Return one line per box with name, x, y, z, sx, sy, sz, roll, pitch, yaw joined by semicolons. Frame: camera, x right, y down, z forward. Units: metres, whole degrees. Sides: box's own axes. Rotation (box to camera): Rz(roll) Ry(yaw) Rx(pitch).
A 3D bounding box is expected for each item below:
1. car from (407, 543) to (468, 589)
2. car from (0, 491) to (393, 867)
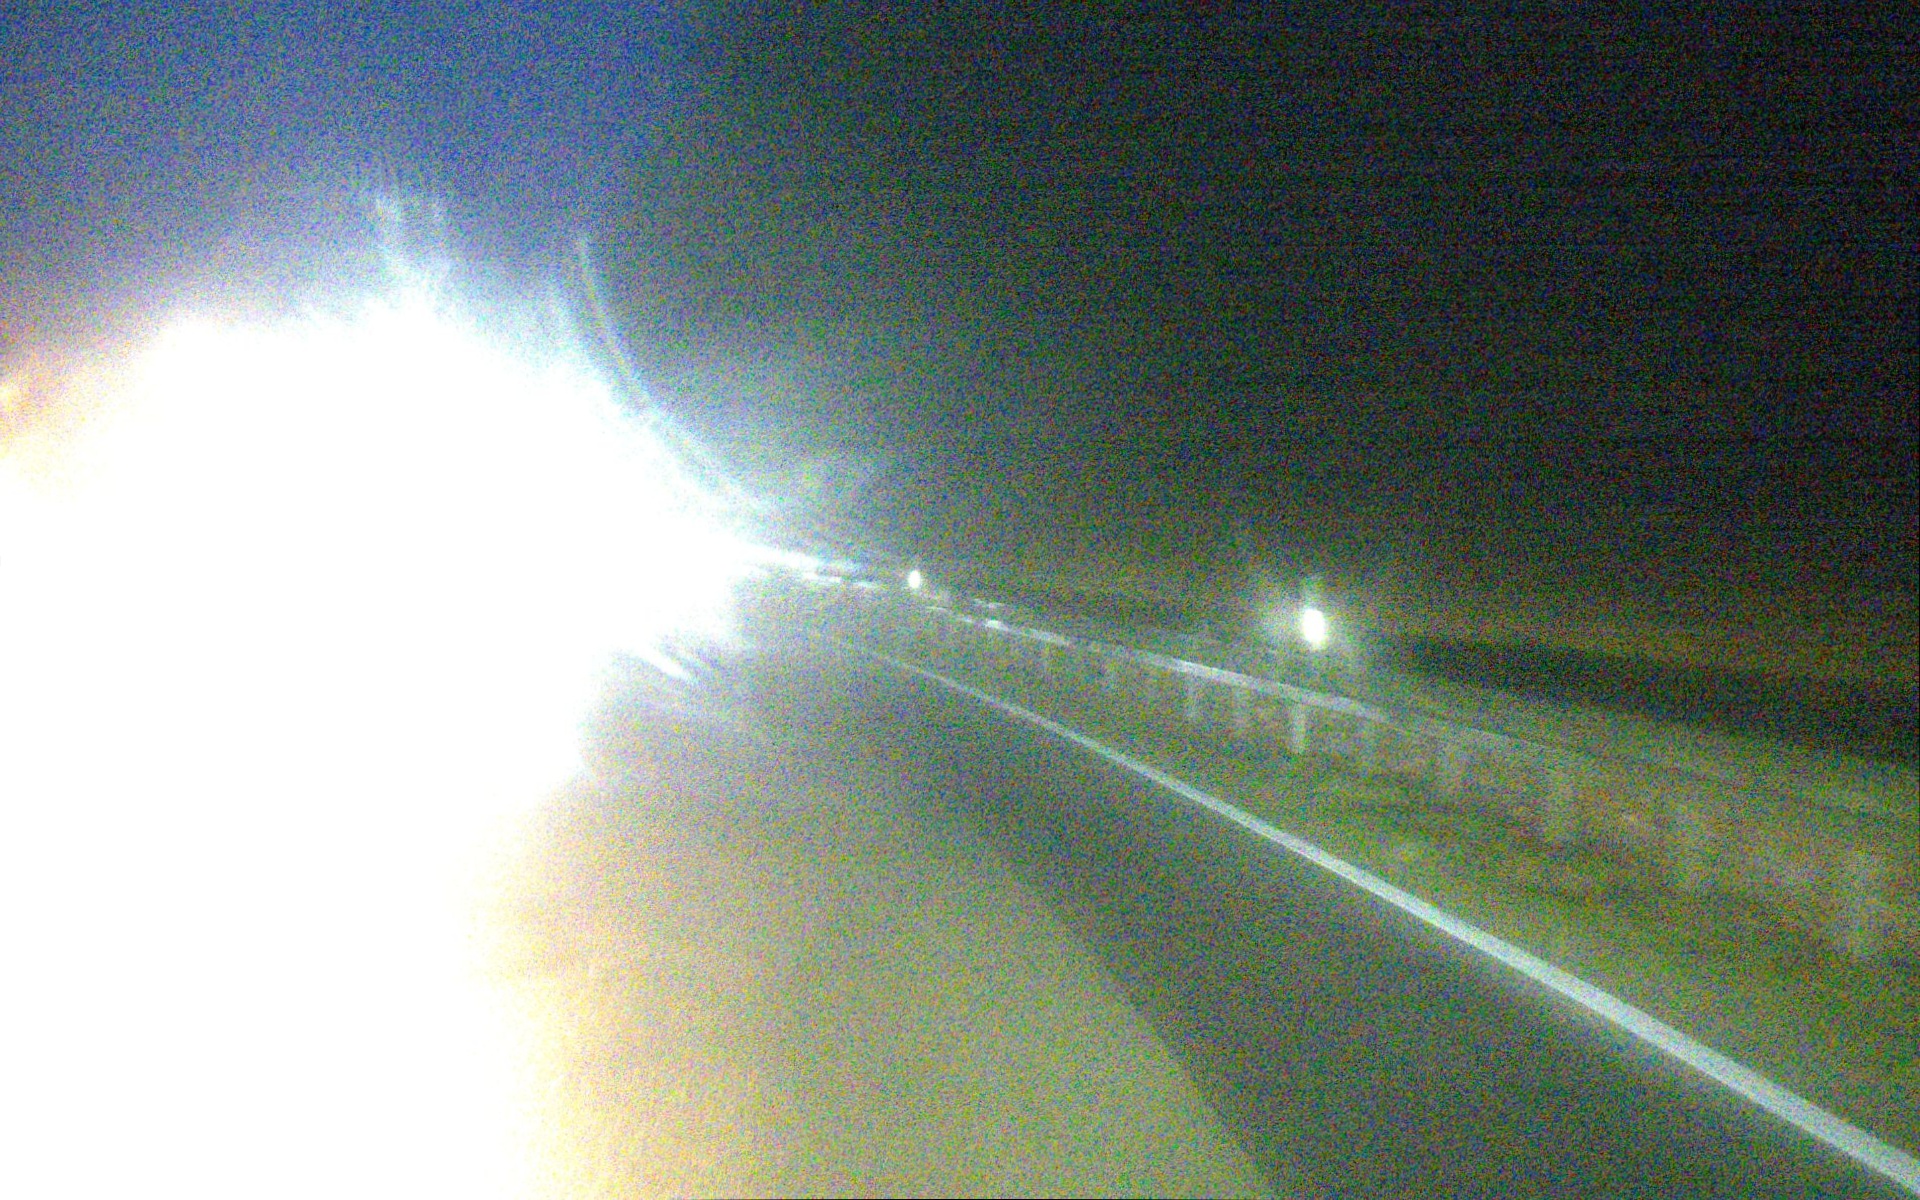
car;-17.718;-1.159;116.634;1.993;1.467;3.837;1;1;-8
car;-4.531;0.403;19.829;1.993;1.919;4.000;1;0;-3
